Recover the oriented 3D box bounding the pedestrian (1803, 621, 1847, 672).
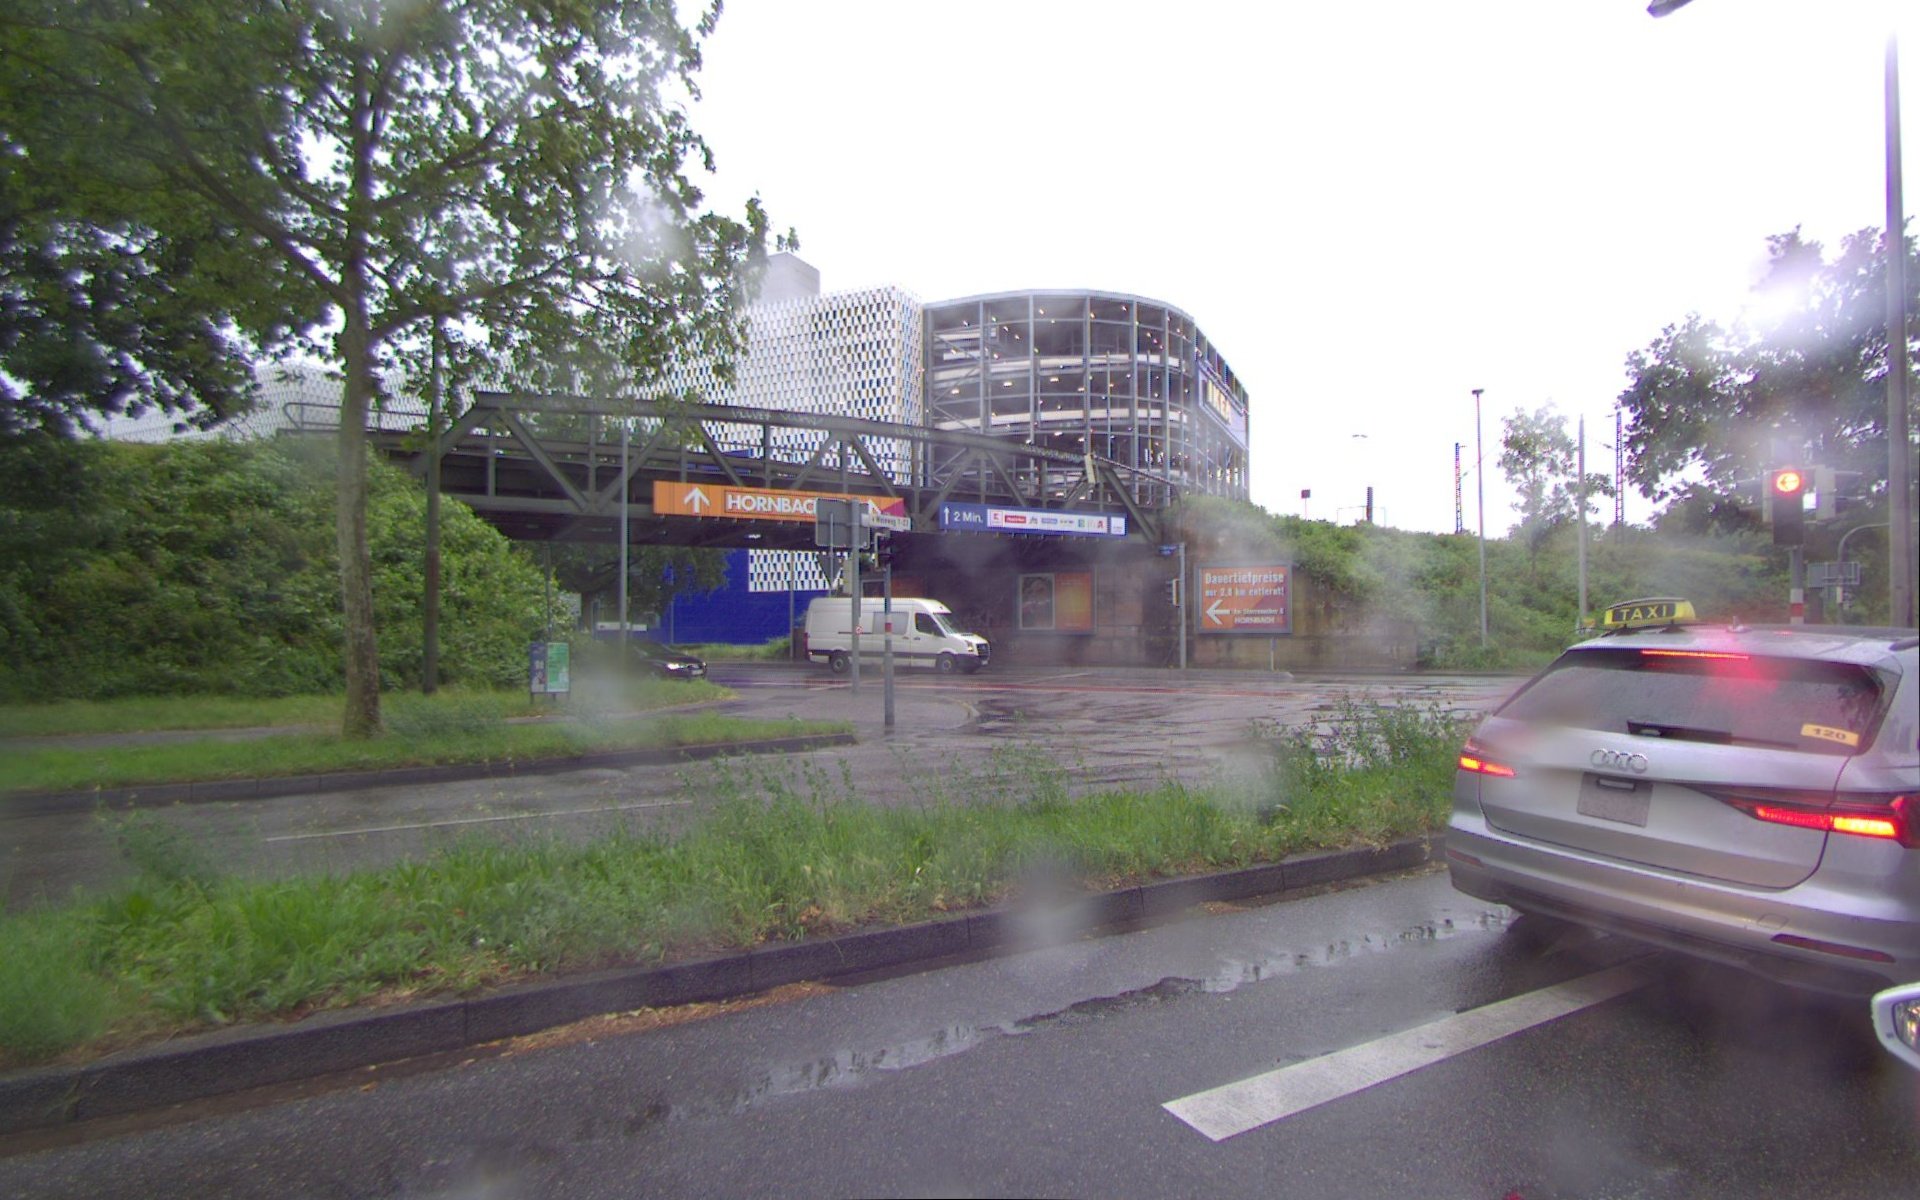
[{"bbox_3d":[32.373,1.732,37.593,1.122,1.871,1.092,2,-2,-41],"label":"pedestrian"}]

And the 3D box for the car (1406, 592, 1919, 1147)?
[{"bbox_3d":[4.417,0.809,4.819,4.766,1.595,1.760,1,0,-31],"label":"car"}]

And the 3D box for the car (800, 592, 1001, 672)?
[{"bbox_3d":[-2.145,1.136,35.595,6.847,2.645,2.386,-1,-2,25],"label":"car"}]

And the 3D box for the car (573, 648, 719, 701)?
[{"bbox_3d":[-9.464,2.208,30.301,4.067,1.453,1.693,-1,-1,23],"label":"car"}]
